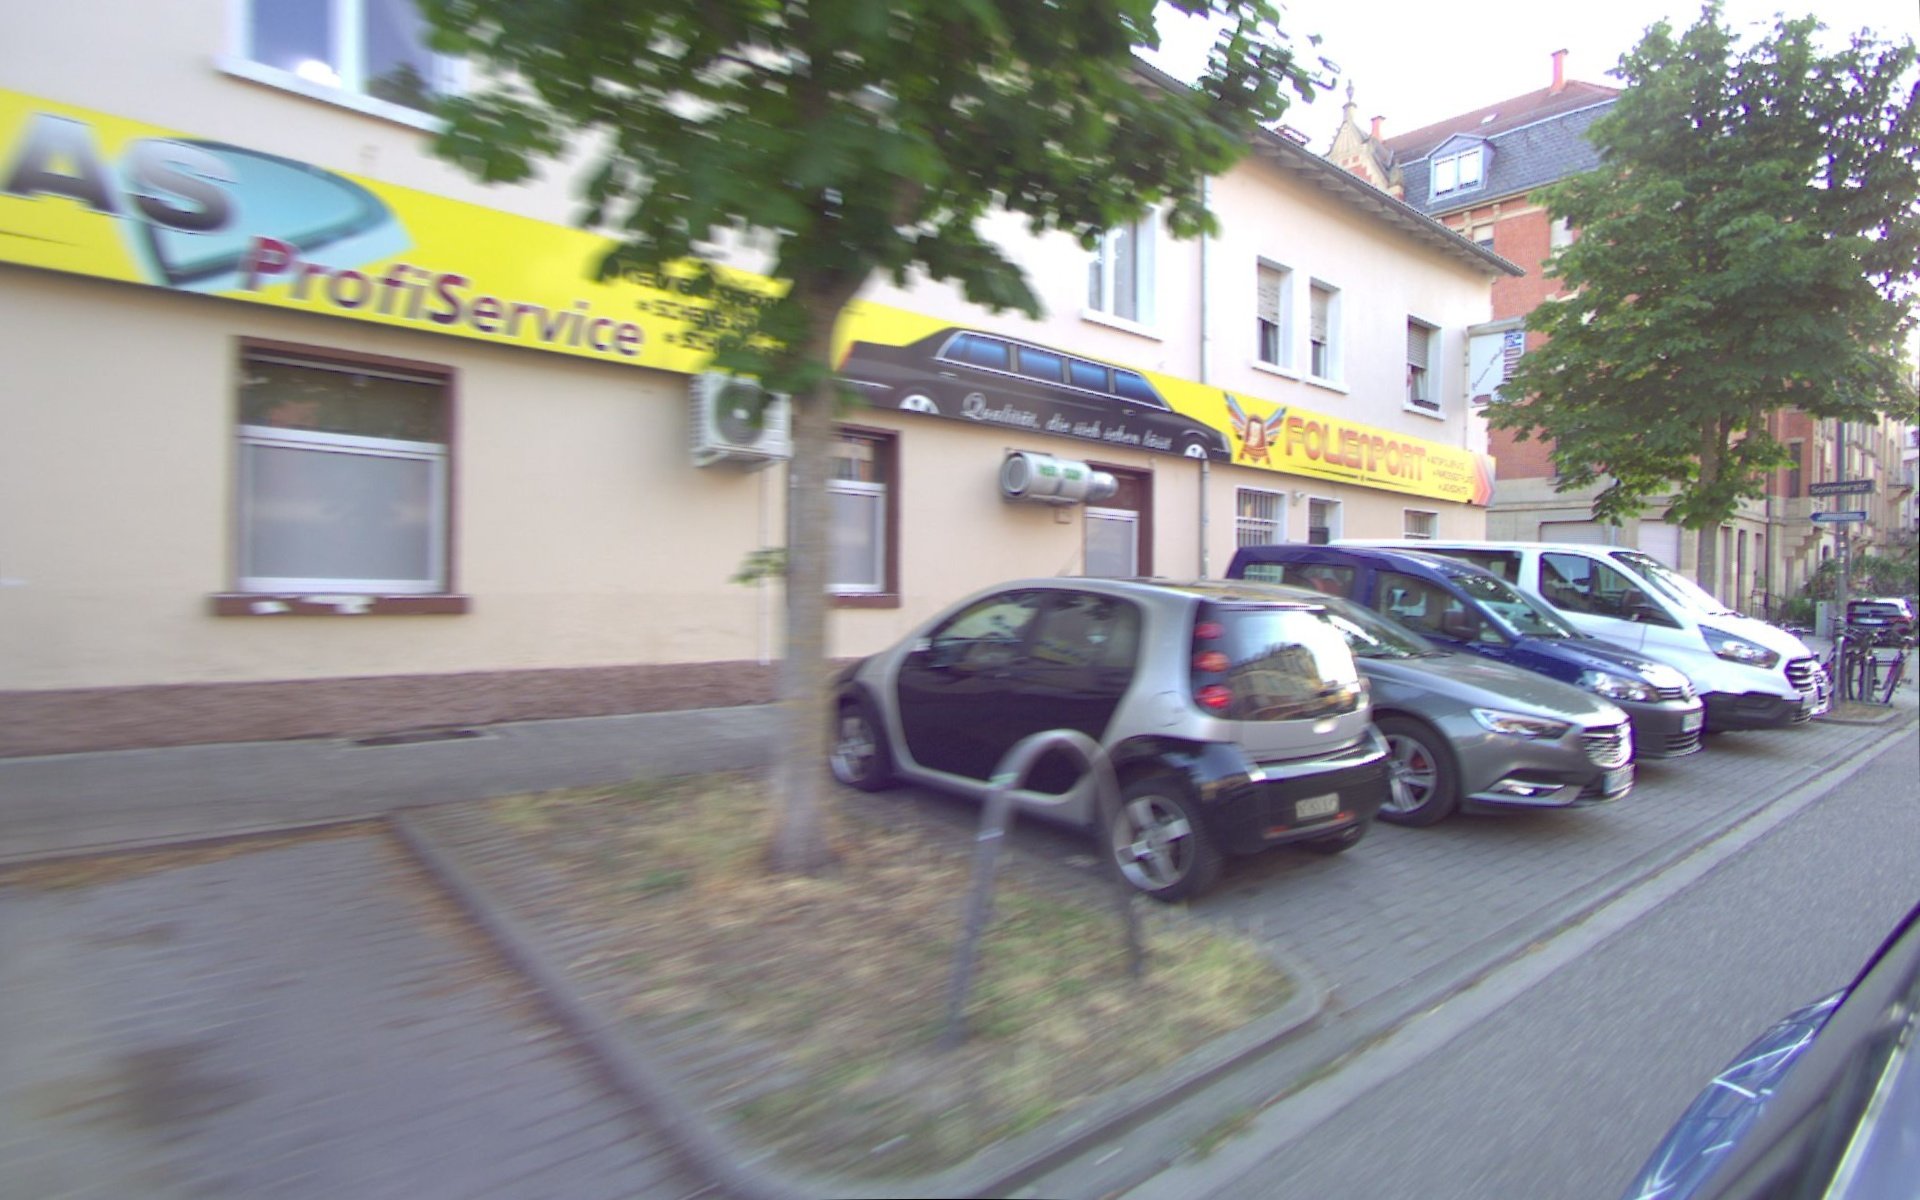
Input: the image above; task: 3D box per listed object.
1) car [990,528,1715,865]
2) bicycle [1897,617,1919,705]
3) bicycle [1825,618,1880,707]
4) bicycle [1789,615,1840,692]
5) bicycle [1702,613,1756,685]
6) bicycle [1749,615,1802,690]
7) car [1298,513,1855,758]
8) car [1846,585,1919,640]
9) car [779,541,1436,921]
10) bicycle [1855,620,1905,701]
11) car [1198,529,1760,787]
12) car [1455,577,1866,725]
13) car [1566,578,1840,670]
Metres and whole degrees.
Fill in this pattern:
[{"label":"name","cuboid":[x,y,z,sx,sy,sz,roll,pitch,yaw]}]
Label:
[{"label":"car","cuboid":[2.576,0.379,7.746,1.965,1.513,4.735,0,7,-40]},{"label":"bicycle","cuboid":[13.270,0.809,13.958,1.938,1.113,0.357,0,0,-43]},{"label":"bicycle","cuboid":[11.487,0.775,13.014,1.755,1.036,0.357,0,0,-43]},{"label":"bicycle","cuboid":[12.541,0.750,14.840,1.796,1.036,0.357,0,0,-43]},{"label":"bicycle","cuboid":[11.884,0.733,15.621,1.755,1.036,0.357,0,0,-43]},{"label":"bicycle","cuboid":[12.215,0.760,15.144,1.755,1.036,0.357,0,0,-43]},{"label":"car","cuboid":[6.593,0.253,11.434,2.111,2.127,4.975,-1,1,-37]},{"label":"car","cuboid":[27.796,0.330,30.093,3.932,1.543,1.797,0,1,-43]},{"label":"car","cuboid":[0.600,0.465,6.190,1.651,1.514,3.794,0,3,-40]},{"label":"bicycle","cuboid":[13.009,0.820,14.292,1.938,1.036,0.357,0,0,-43]},{"label":"car","cuboid":[4.651,0.304,9.669,1.963,1.881,4.305,0,3,-38]},{"label":"car","cuboid":[8.744,0.532,12.922,1.692,1.586,4.039,0,0,-41]},{"label":"car","cuboid":[14.608,0.403,20.106,1.770,1.509,4.001,1,2,-36]}]
